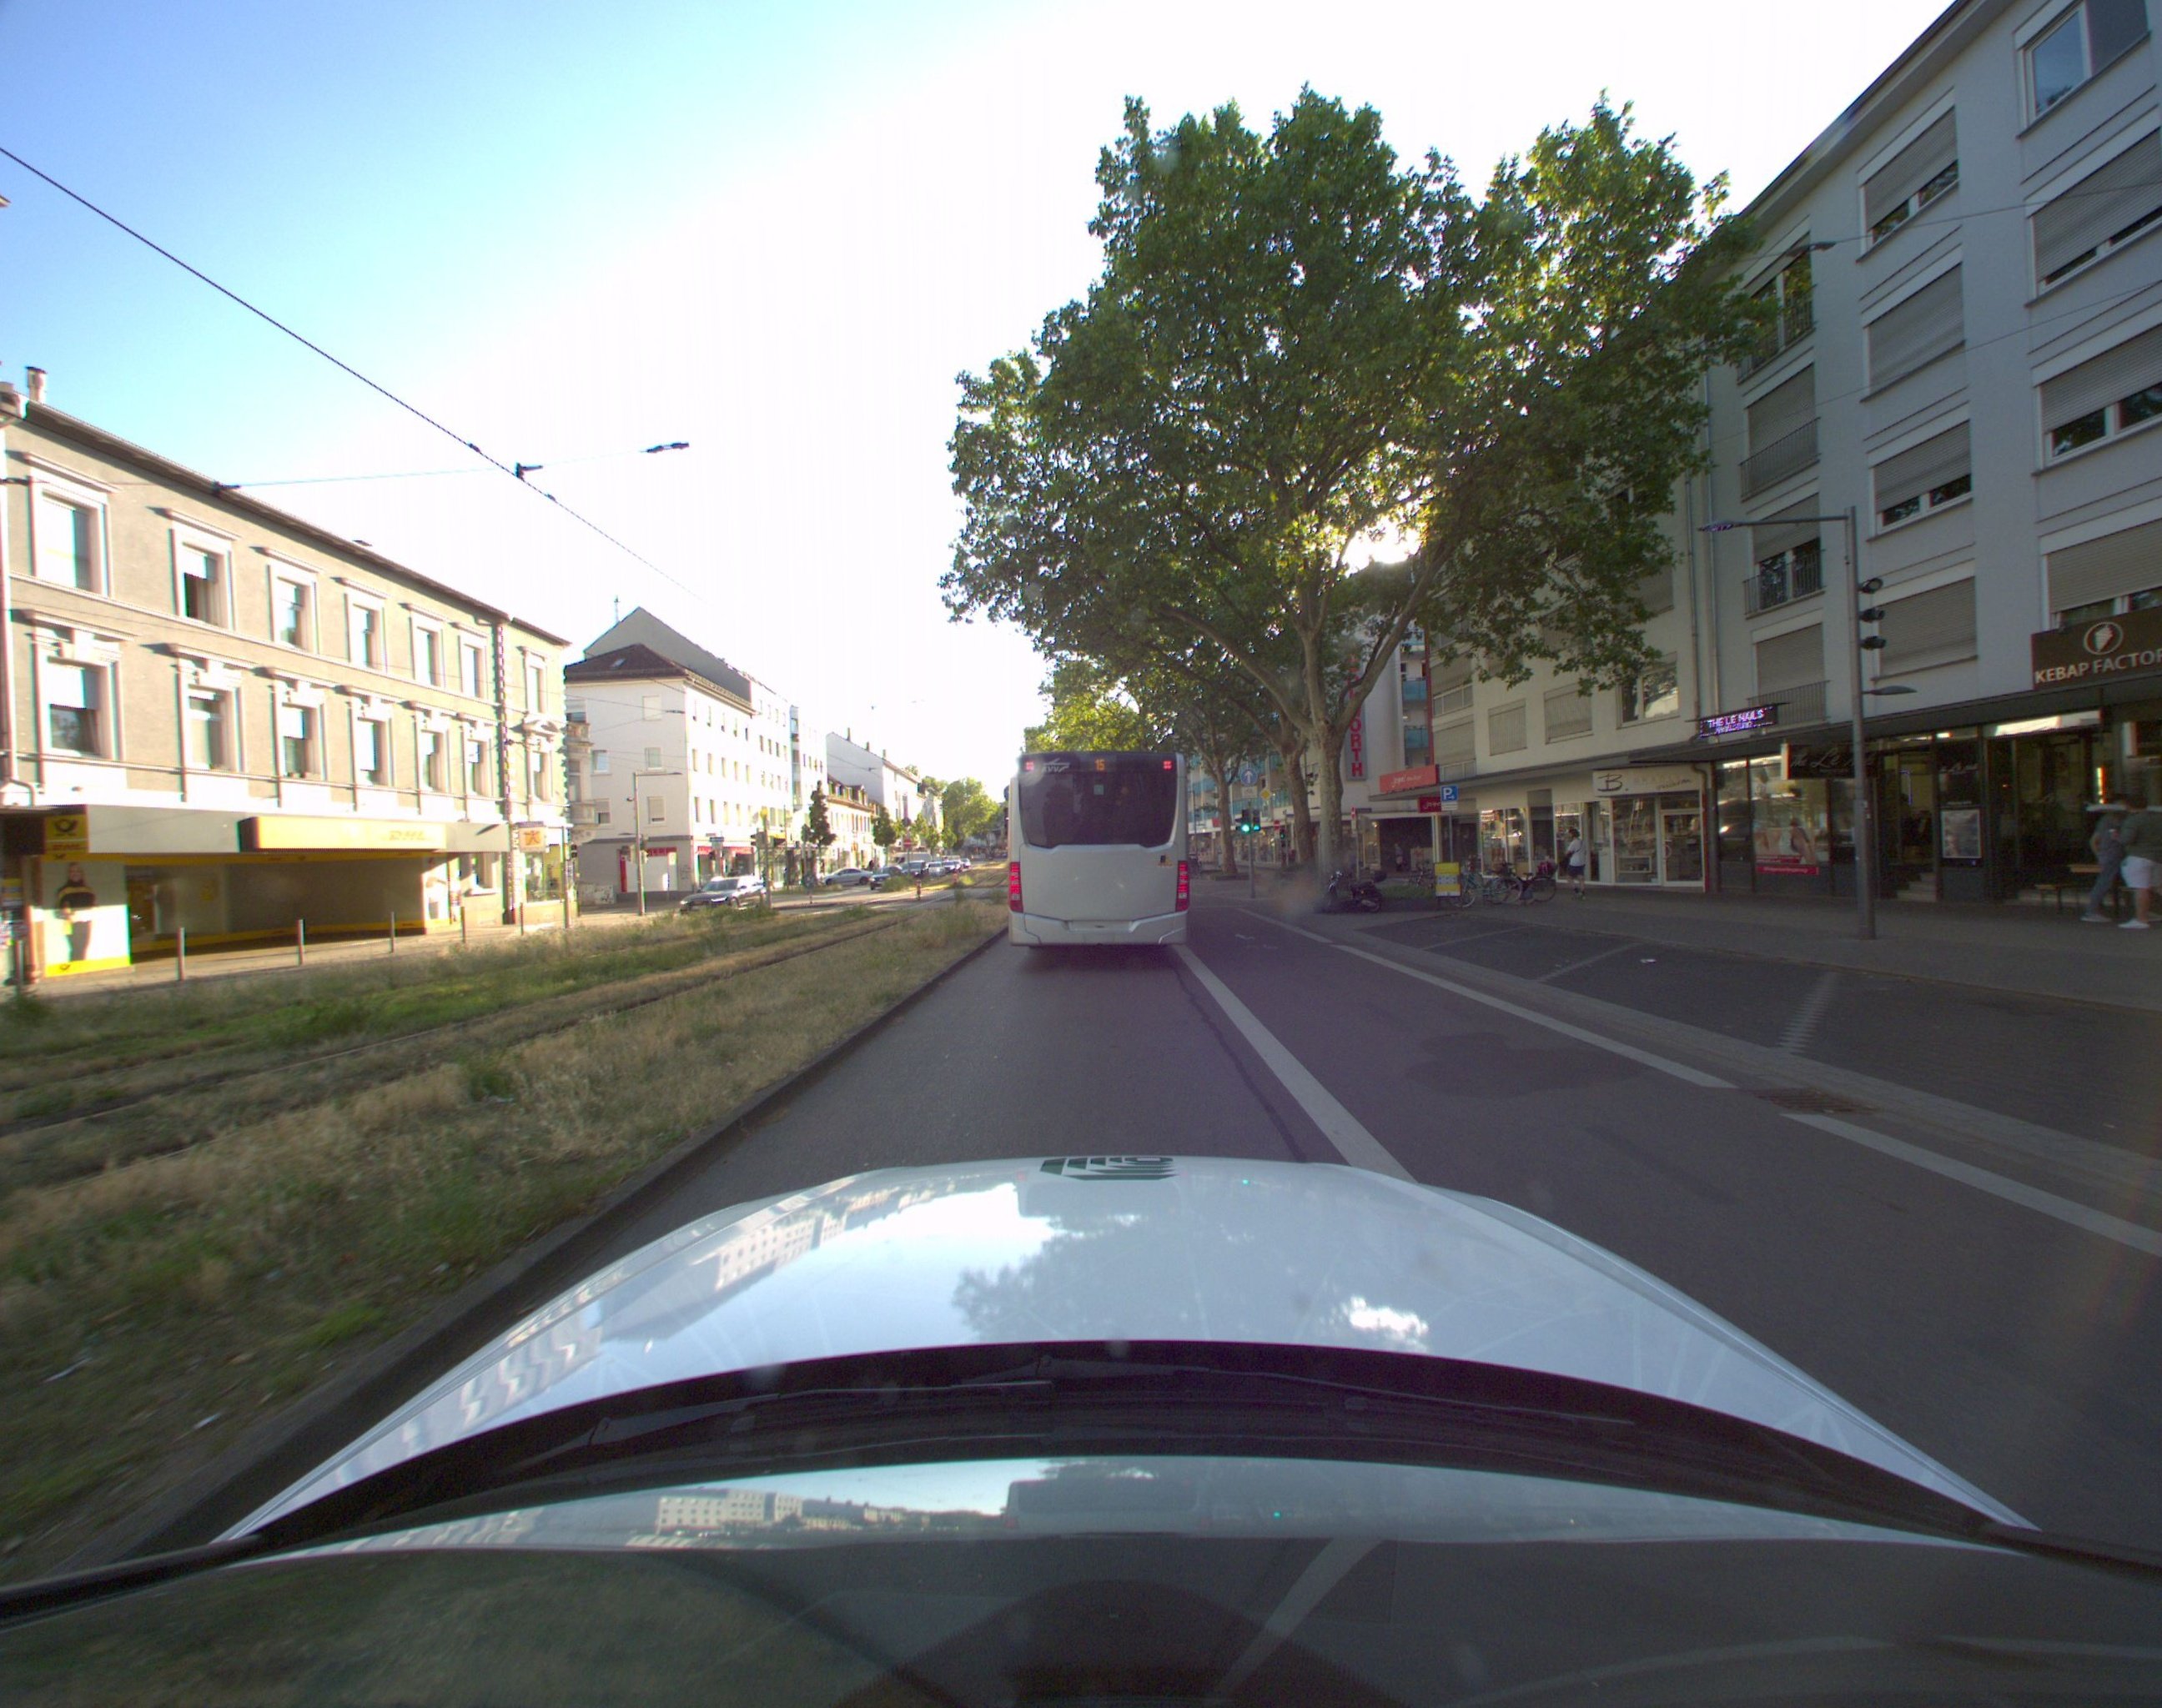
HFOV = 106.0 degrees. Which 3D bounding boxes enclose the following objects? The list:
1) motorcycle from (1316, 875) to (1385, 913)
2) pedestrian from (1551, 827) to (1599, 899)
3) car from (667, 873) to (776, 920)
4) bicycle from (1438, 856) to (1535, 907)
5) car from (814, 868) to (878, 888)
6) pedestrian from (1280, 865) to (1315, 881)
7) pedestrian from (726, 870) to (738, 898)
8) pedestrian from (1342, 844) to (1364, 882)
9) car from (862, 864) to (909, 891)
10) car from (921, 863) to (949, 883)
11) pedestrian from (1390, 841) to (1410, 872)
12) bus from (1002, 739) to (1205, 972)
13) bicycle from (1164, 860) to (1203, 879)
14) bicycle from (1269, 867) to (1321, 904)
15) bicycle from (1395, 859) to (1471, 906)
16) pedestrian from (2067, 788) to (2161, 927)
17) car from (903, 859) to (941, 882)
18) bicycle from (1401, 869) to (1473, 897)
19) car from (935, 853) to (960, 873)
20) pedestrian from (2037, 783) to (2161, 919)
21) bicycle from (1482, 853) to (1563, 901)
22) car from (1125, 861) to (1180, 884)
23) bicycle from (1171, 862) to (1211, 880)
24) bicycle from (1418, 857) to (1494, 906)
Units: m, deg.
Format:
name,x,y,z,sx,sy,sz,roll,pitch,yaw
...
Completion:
name,x,y,z,sx,sy,sz,roll,pitch,yaw
motorcycle,6.898,1.022,20.856,1.566,0.892,0.544,-3,-1,-2
pedestrian,13.207,0.237,21.771,0.643,1.876,0.821,-2,-1,-12
car,-13.896,1.587,31.808,1.986,1.559,4.776,-2,0,1
bicycle,10.712,0.713,21.573,2.070,1.233,0.833,-3,-1,6
car,-18.949,1.916,65.838,4.571,1.412,1.978,-2,-1,-35
pedestrian,8.462,0.726,31.812,1.250,0.589,0.482,-1,-1,-1
pedestrian,-21.552,1.841,50.309,0.424,1.713,0.509,-2,-1,5
pedestrian,13.331,0.430,39.939,0.777,1.794,0.764,-2,-1,1
car,-12.846,1.499,53.817,1.773,1.450,4.048,-4,1,3
car,-13.659,1.750,76.303,1.892,1.804,3.998,-2,0,-1
pedestrian,18.008,0.135,45.968,0.746,1.679,0.834,-2,2,-5
bus,0.458,0.015,14.498,2.667,3.083,7.119,-1,0,3
bicycle,6.487,0.978,51.645,2.308,1.028,0.835,-2,1,-7
bicycle,6.744,0.995,25.694,1.503,1.105,0.460,1,0,1
bicycle,10.357,0.841,24.034,1.865,1.189,0.713,-5,-1,9
pedestrian,14.320,0.032,11.064,0.703,1.791,0.789,-6,-1,7
car,-12.385,1.257,63.670,1.773,1.615,4.513,-1,0,3
bicycle,10.867,0.878,24.905,1.865,0.765,0.713,-2,0,9
car,-14.289,0.987,87.398,1.988,2.013,3.998,-2,0,-1
pedestrian,14.715,-0.043,11.747,0.908,1.876,0.737,-2,-1,-2
bicycle,11.858,0.623,21.919,1.753,1.154,0.680,-4,-1,10
car,5.324,1.387,60.600,1.975,1.530,4.024,-3,-1,44
bicycle,6.799,1.050,50.354,2.308,0.939,0.835,-2,1,-7
bicycle,10.591,0.774,23.021,1.784,1.189,0.670,-5,-1,-7
